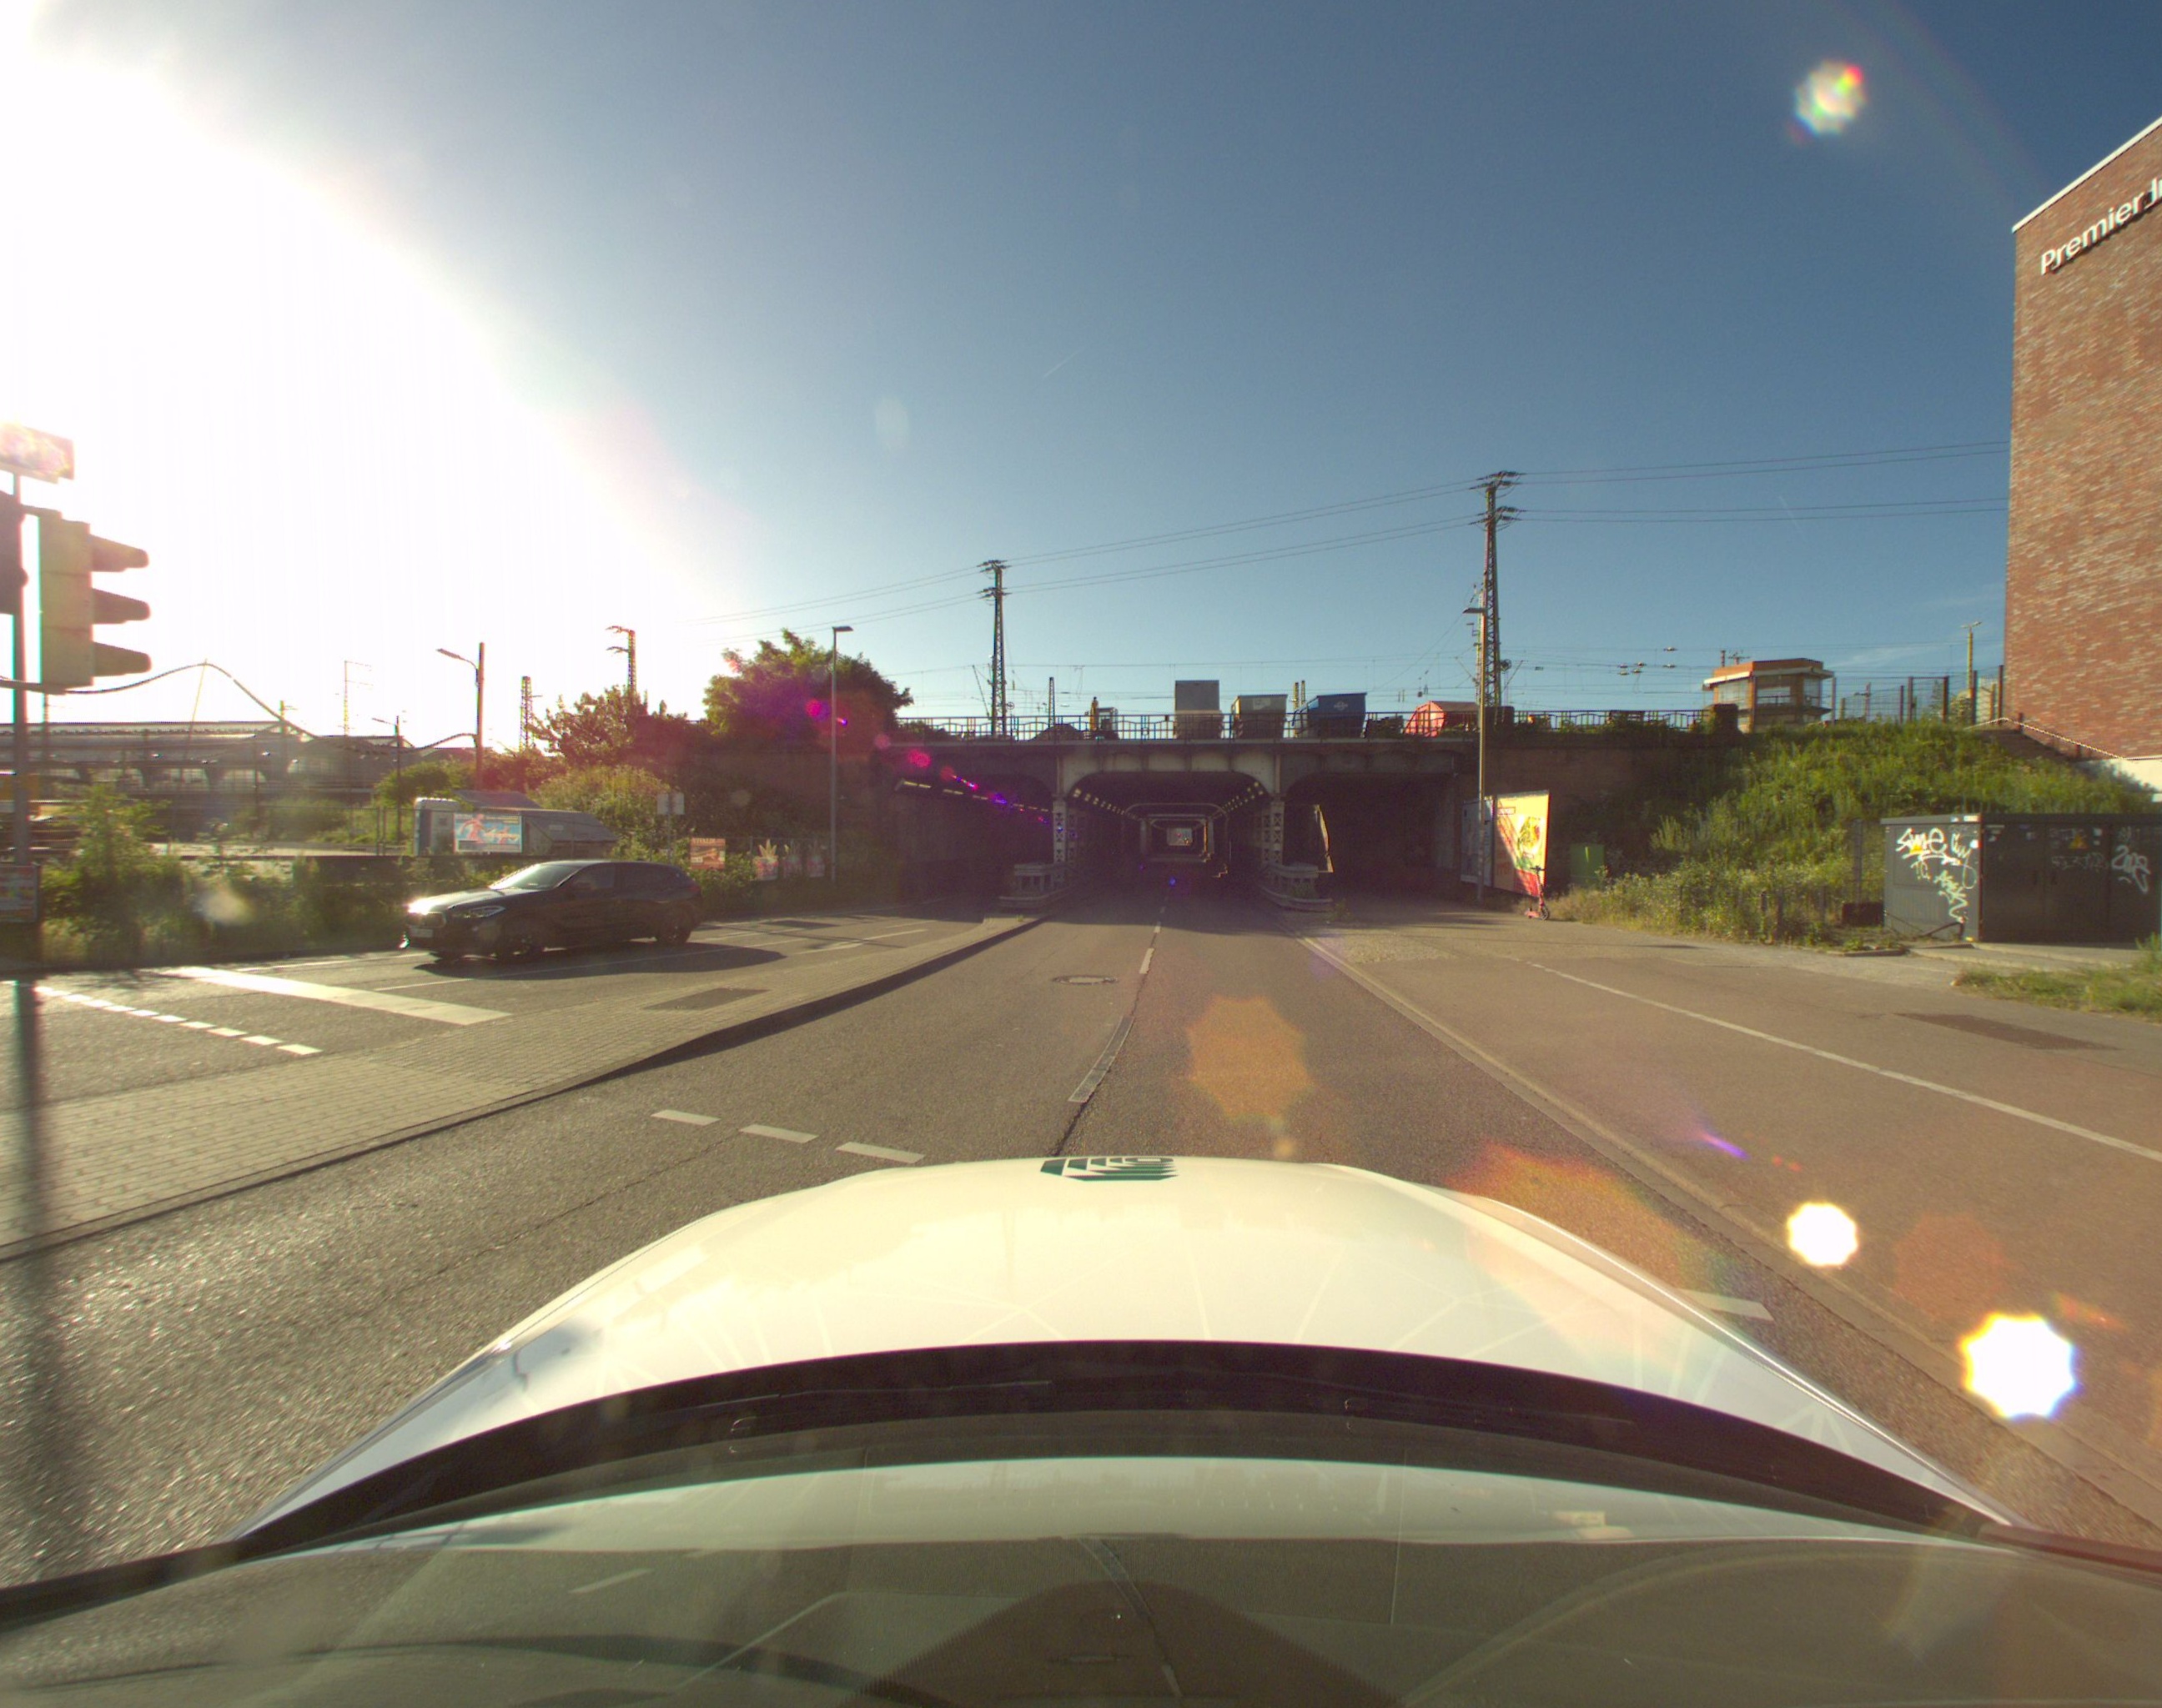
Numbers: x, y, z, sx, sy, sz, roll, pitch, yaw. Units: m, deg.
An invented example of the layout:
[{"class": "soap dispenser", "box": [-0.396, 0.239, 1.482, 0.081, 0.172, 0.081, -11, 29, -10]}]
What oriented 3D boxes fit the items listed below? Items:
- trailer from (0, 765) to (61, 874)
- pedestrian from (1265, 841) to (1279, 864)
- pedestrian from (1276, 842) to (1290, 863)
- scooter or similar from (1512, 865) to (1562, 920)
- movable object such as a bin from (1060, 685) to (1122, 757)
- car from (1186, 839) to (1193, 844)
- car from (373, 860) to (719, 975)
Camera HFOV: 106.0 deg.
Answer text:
[{"class": "trailer", "box": [-35.447, -1.084, 26.218, 6.582, 3.292, 3.024, 1, 0, 37]}, {"class": "pedestrian", "box": [15.415, -0.150, 65.758, 0.876, 1.835, 0.923, -2, 1, 4]}, {"class": "pedestrian", "box": [16.244, -0.131, 65.597, 0.912, 1.656, 0.887, -2, 1, 3]}, {"class": "scooter or similar", "box": [10.379, 0.855, 18.578, 0.534, 1.197, 1.293, 1, 0, 7]}, {"class": "movable object such as a bin", "box": [0.517, -5.553, 34.655, 1.982, 2.226, 4.841, 1, 0, 8]}, {"class": "car", "box": [33.448, -3.852, 251.193, 1.983, 1.784, 4.008, 0, 1, 7]}, {"class": "car", "box": [-8.368, 0.861, 13.298, 1.934, 1.518, 4.409, 0, 0, 21]}]
